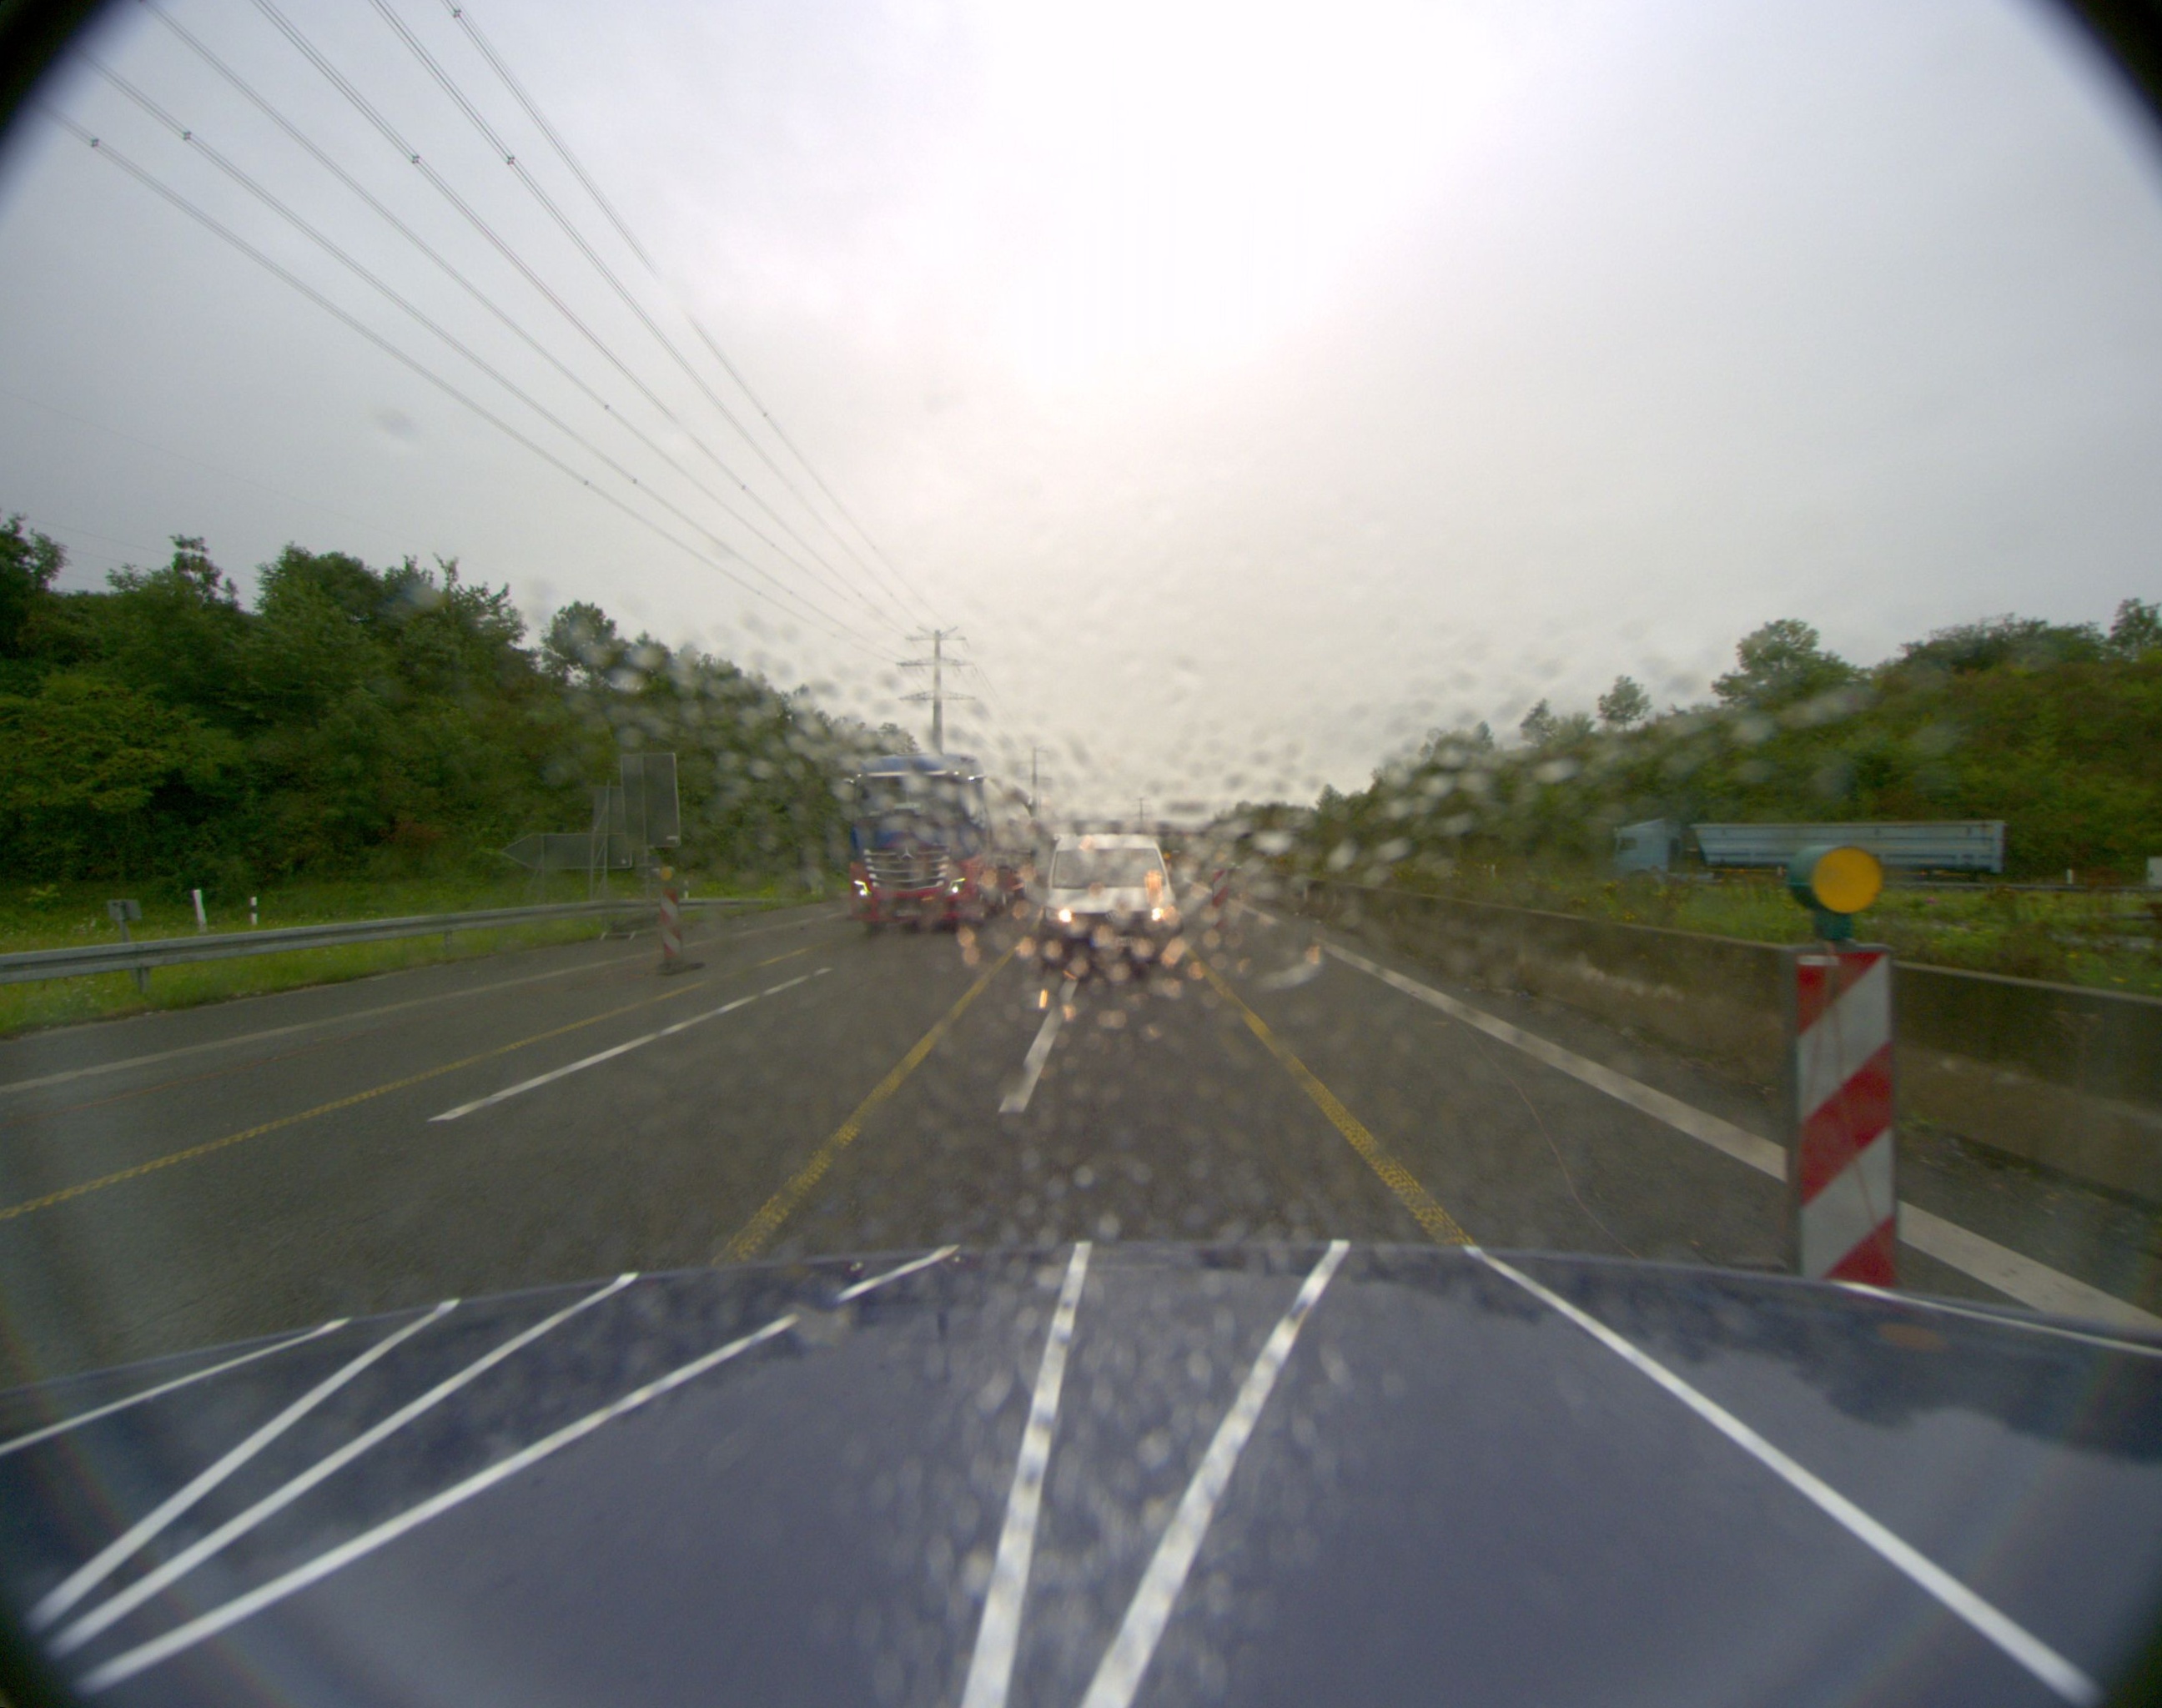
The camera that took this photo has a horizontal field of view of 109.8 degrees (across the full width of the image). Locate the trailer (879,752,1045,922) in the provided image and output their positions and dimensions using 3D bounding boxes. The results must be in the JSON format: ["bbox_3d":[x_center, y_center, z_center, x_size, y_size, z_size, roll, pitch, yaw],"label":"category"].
[{"bbox_3d":[-3.030,-0.502,23.608,2.525,3.812,12.350,-2,1,3],"label":"trailer"}]

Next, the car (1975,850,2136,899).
[{"bbox_3d":[41.769,0.813,32.744,3.988,2.002,2.004,1,1,43],"label":"car"}]

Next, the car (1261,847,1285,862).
[{"bbox_3d":[23.288,0.062,92.311,1.998,1.779,4.229,0,0,1],"label":"car"}]

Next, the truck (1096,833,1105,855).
[{"bbox_3d":[5.206,-2.625,202.771,2.276,3.694,6.632,-2,22,3],"label":"truck"}]

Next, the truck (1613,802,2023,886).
[{"bbox_3d":[36.150,-0.458,38.669,14.537,3.599,2.907,0,1,45],"label":"truck"}]

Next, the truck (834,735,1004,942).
[{"bbox_3d":[-3.342,-0.318,16.759,2.553,3.924,4.000,-2,1,3],"label":"truck"}]

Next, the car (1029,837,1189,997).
[{"bbox_3d":[0.359,0.711,11.053,1.770,1.774,4.647,-2,0,1],"label":"car"}]

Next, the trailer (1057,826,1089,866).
[{"bbox_3d":[-0.783,-0.967,84.867,2.808,3.980,14.148,-2,1,2],"label":"trailer"}]

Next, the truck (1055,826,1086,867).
[{"bbox_3d":[-1.057,-0.797,77.655,2.748,3.912,5.397,-2,1,2],"label":"truck"}]

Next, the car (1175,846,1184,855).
[{"bbox_3d":[29.813,-1.050,230.105,2.245,2.426,5.885,0,0,4],"label":"car"}]
